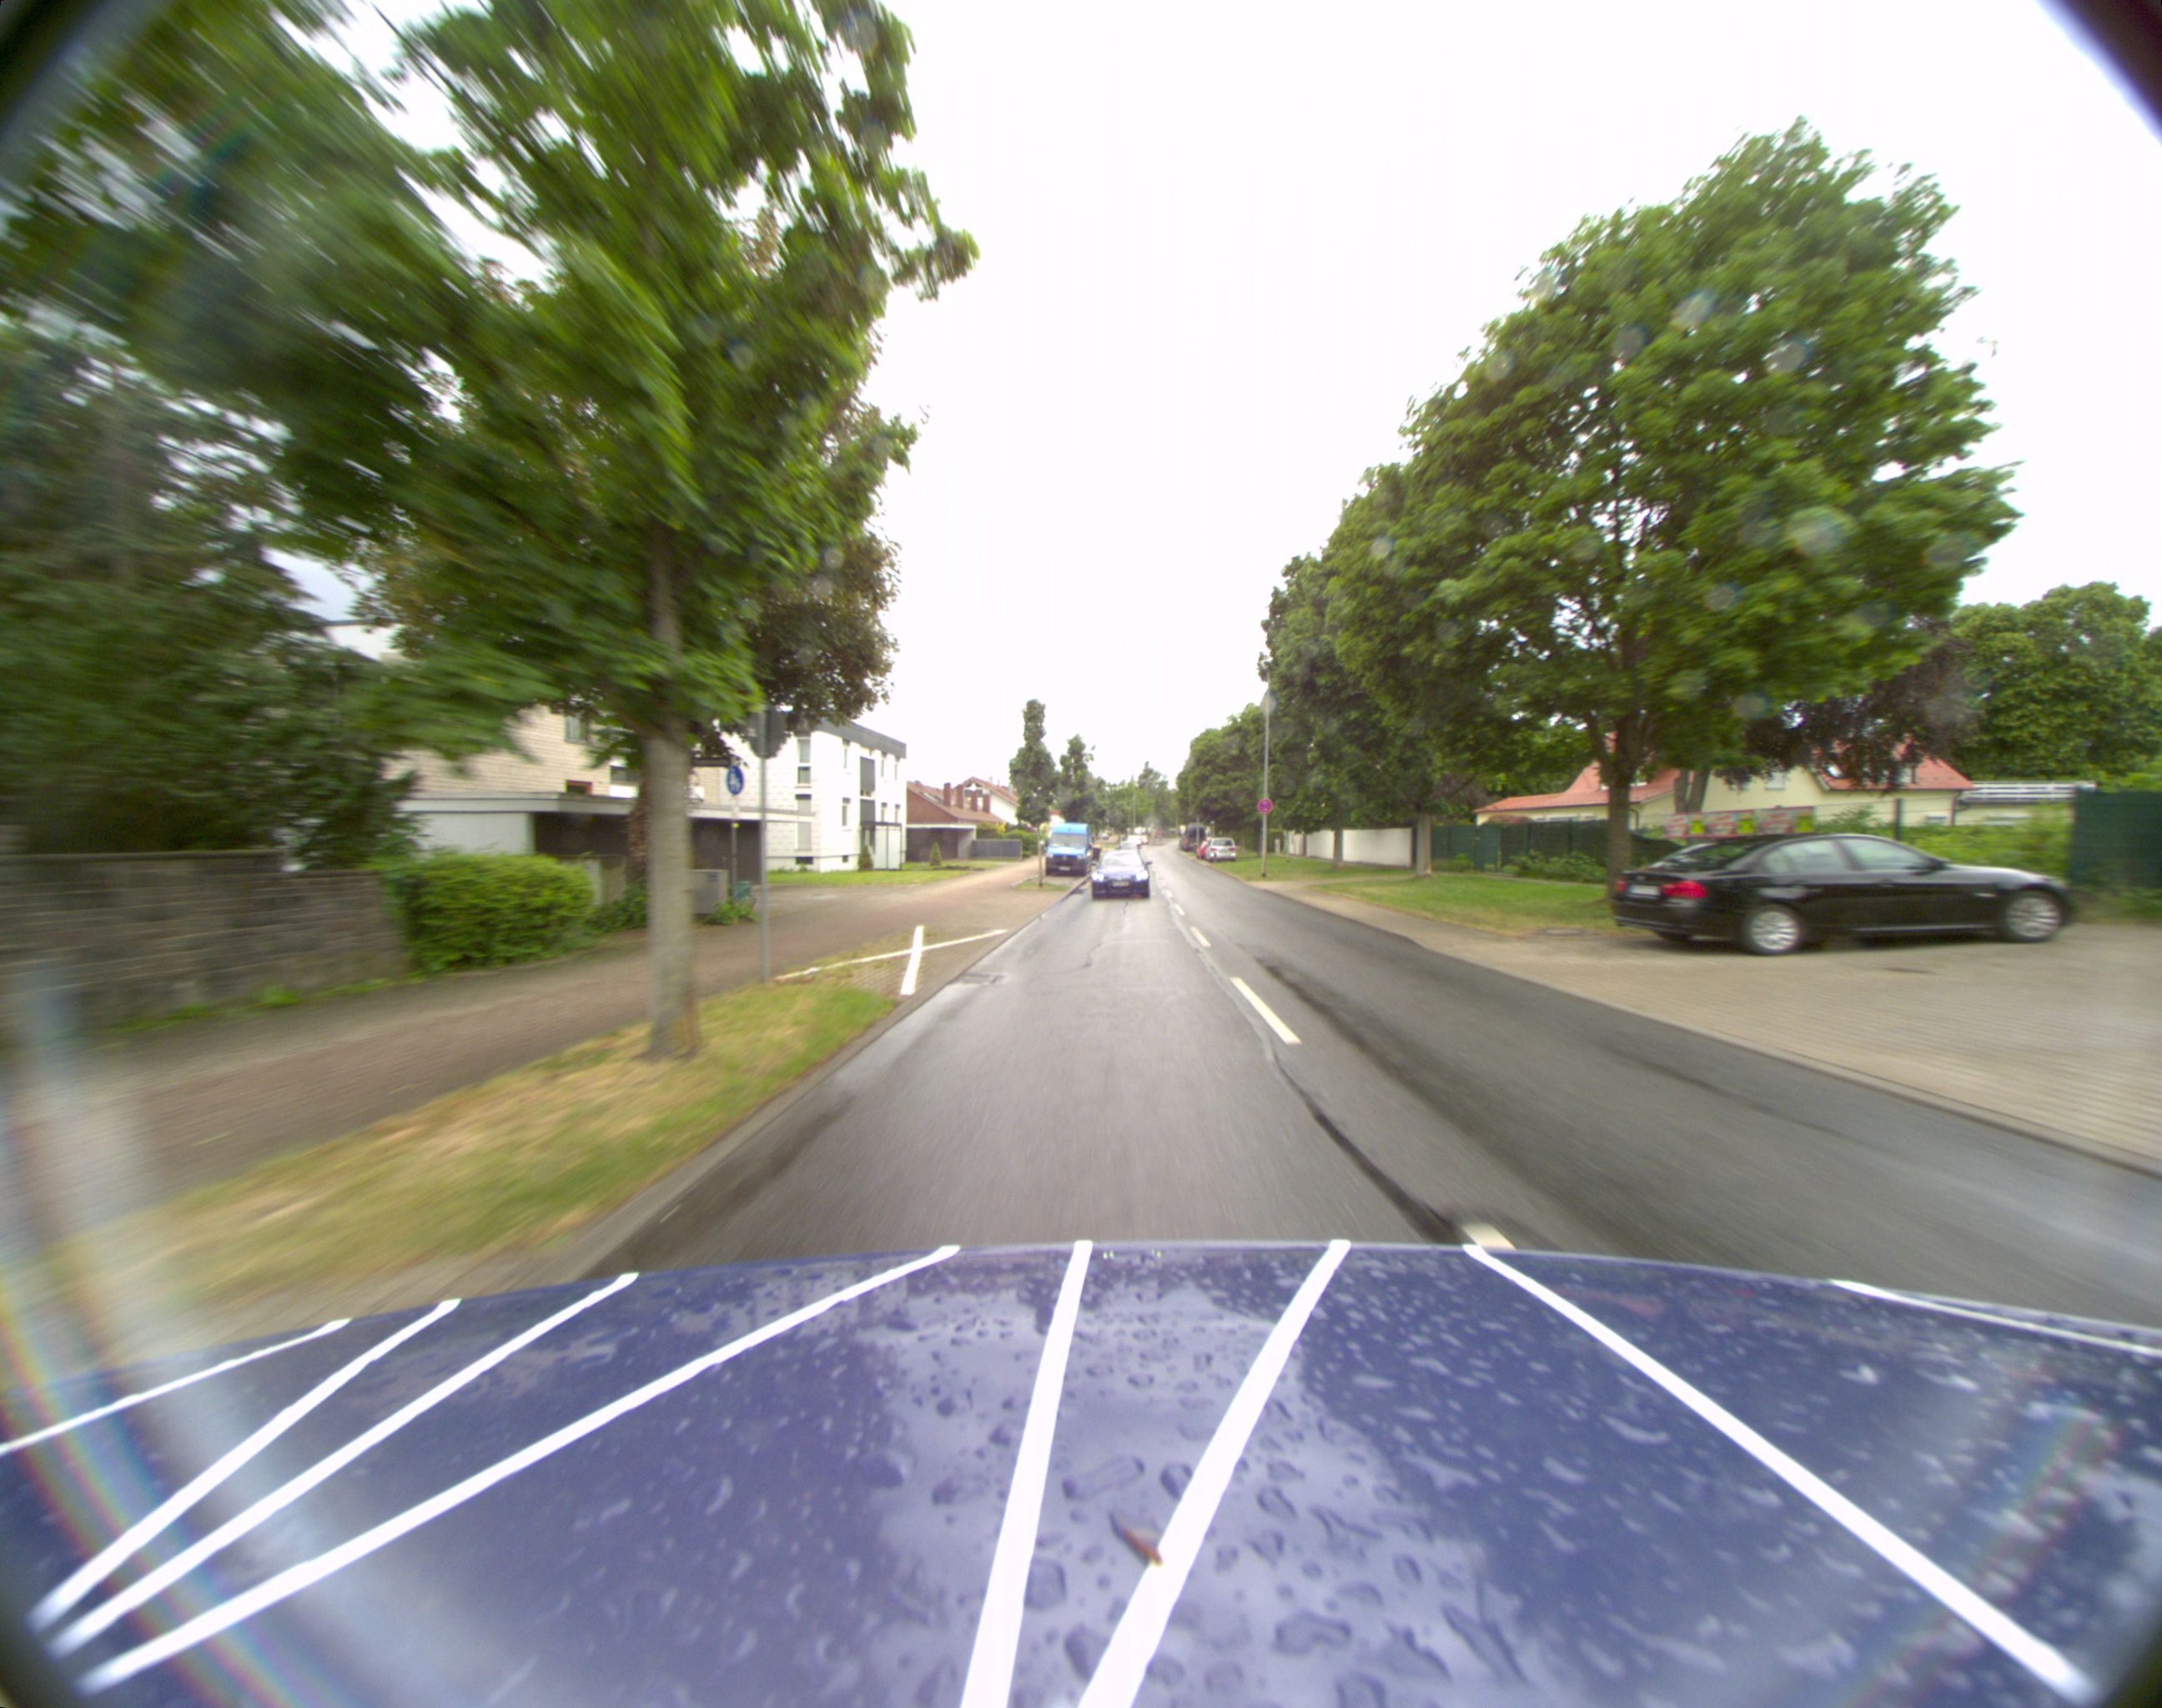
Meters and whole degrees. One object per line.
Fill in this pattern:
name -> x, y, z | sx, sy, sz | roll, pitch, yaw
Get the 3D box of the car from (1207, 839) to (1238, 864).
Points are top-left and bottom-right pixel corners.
car -> 9.384, -0.217, 50.764 | 1.774, 1.597, 4.001 | 0, 1, 7

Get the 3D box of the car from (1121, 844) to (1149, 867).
car -> 3.846, 0.067, 54.367 | 1.846, 1.531, 4.001 | -2, 0, 4

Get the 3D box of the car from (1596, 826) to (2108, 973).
car -> 9.334, 0.521, 9.529 | 4.437, 1.409, 1.756 | -4, 1, 4

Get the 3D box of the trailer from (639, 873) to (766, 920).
trailer -> -8.361, 0.920, 16.883 | 2.179, 0.953, 1.270 | 0, 1, 6

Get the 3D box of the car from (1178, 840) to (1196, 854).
car -> 11.391, -0.767, 81.719 | 1.705, 1.316, 3.844 | -2, 1, 6

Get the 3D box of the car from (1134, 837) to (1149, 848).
car -> 9.054, -1.697, 113.959 | 1.894, 1.531, 4.002 | -2, 0, 8

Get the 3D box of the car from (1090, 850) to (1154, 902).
car -> 1.425, 0.675, 25.368 | 1.895, 1.531, 4.001 | -2, 0, 5

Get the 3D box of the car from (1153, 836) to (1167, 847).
car -> 11.704, -1.807, 112.080 | 1.894, 1.531, 4.002 | -2, 0, 7

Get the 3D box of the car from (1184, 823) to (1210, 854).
car -> 11.257, -1.538, 73.897 | 2.247, 2.823, 5.045 | -2, 2, 7

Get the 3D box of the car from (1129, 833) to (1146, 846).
car -> 7.154, -1.766, 96.044 | 1.895, 1.531, 4.001 | -2, 0, 6

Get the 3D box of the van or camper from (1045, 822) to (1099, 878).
van or camper -> -0.358, -0.251, 38.654 | 2.148, 2.594, 5.782 | 1, 1, 5

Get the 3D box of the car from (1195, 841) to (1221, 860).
car -> 9.367, -0.281, 56.233 | 1.705, 1.316, 3.844 | -2, 1, 7
